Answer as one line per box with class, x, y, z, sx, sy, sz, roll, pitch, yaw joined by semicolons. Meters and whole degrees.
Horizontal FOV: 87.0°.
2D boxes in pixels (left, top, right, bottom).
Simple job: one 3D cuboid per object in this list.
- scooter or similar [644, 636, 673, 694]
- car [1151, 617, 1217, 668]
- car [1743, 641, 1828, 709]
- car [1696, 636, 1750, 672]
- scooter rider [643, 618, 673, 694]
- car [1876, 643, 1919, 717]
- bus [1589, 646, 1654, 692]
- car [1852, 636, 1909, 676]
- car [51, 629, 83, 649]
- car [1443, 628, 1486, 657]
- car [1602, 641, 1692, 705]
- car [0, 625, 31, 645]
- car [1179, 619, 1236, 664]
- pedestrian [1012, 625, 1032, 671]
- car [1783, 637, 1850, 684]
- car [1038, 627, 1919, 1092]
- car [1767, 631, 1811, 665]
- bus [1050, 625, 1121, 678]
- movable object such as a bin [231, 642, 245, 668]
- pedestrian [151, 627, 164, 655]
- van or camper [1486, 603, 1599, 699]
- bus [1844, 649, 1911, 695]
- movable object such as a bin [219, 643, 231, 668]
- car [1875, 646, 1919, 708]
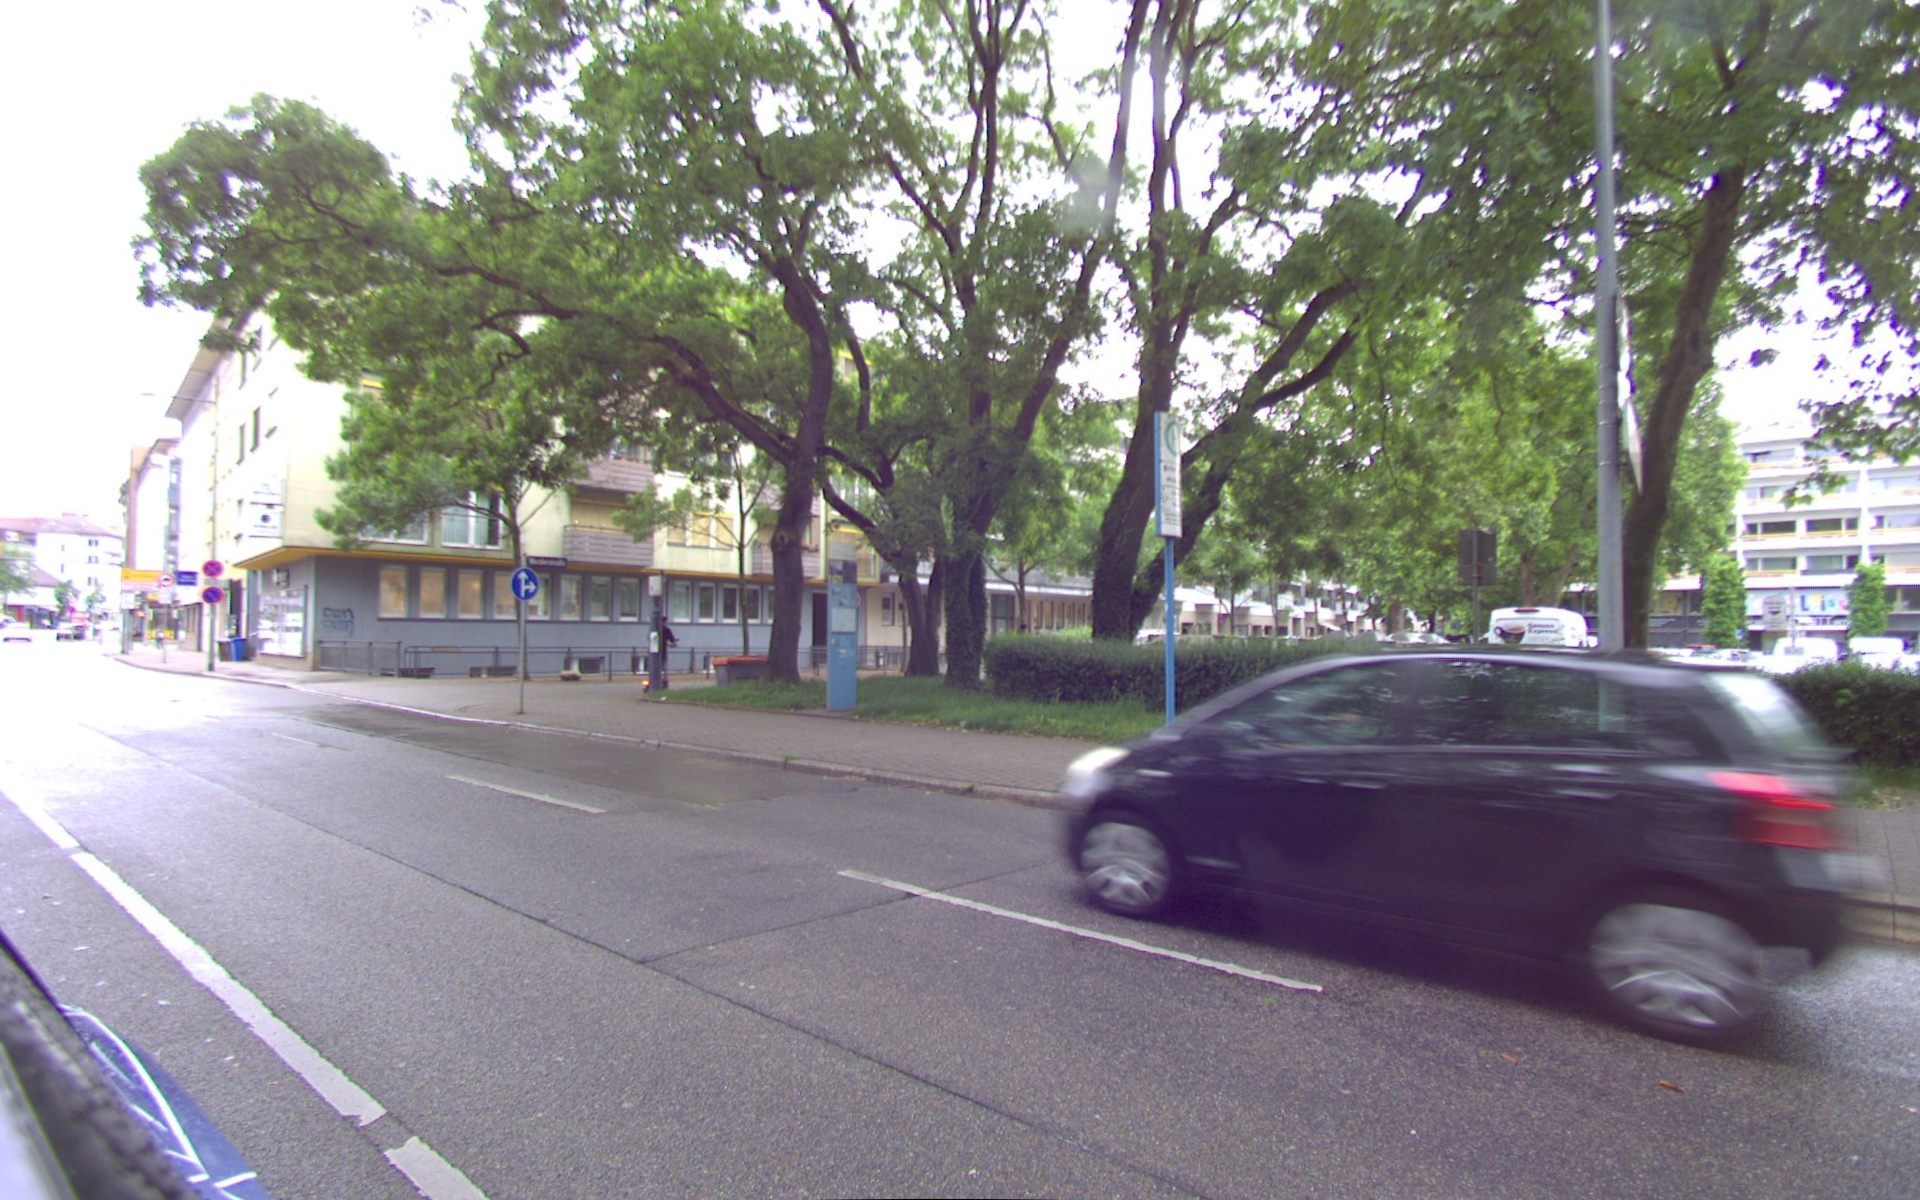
scooter or similar;-7.461;1.597;25.034;0.666;1.392;0.670;-1;-2;-17
car;9.506;1.808;42.776;1.988;2.029;3.967;0;-3;24
car;19.245;1.717;23.554;1.391;1.446;3.227;-2;-4;41
car;35.726;2.481;47.353;1.837;1.435;3.780;-1;0;39
scooter rider;-7.471;1.385;25.030;0.700;1.831;0.700;-1;-3;-17
car;19.936;1.633;20.932;1.391;1.446;3.227;-2;-4;41
bus;24.252;2.495;37.071;1.604;1.551;3.385;-1;-3;40
car;40.406;2.419;44.481;1.639;1.536;3.161;-1;0;38
car;-82.081;3.578;93.032;4.002;1.730;1.863;-2;-4;45
car;27.237;2.287;54.630;1.428;1.439;2.926;-2;-1;40
car;16.740;1.740;24.609;1.391;1.446;3.227;-2;-4;41
car;-79.723;2.965;85.275;4.002;1.670;1.842;-2;-4;45
car;11.801;1.970;48.045;1.988;2.029;3.967;0;-3;24
pedestrian;1.669;1.286;27.292;0.480;1.222;0.437;-1;0;10
car;28.180;1.960;33.341;1.604;1.439;3.275;-1;-3;40
car;2.291;0.914;5.075;3.565;1.500;1.551;-1;-4;41
car;41.990;2.391;51.291;1.639;1.536;3.161;-1;0;38
bus;4.844;1.965;38.675;1.703;1.939;3.697;0;-3;24
movable object such as a bin;-29.894;2.279;41.901;0.409;1.037;0.354;3;-4;-42
pedestrian;-53.693;2.718;67.746;0.586;1.858;0.565;3;-4;-42
van or camper;16.853;1.452;29.199;2.097;2.556;4.367;-1;-3;40
bus;33.163;2.570;36.646;1.604;1.551;3.385;-1;-3;40
movable object such as a bin;-30.303;2.284;41.737;0.333;1.037;0.354;3;-4;-42
car;23.423;1.864;24.795;1.391;1.446;3.227;-2;-4;41
